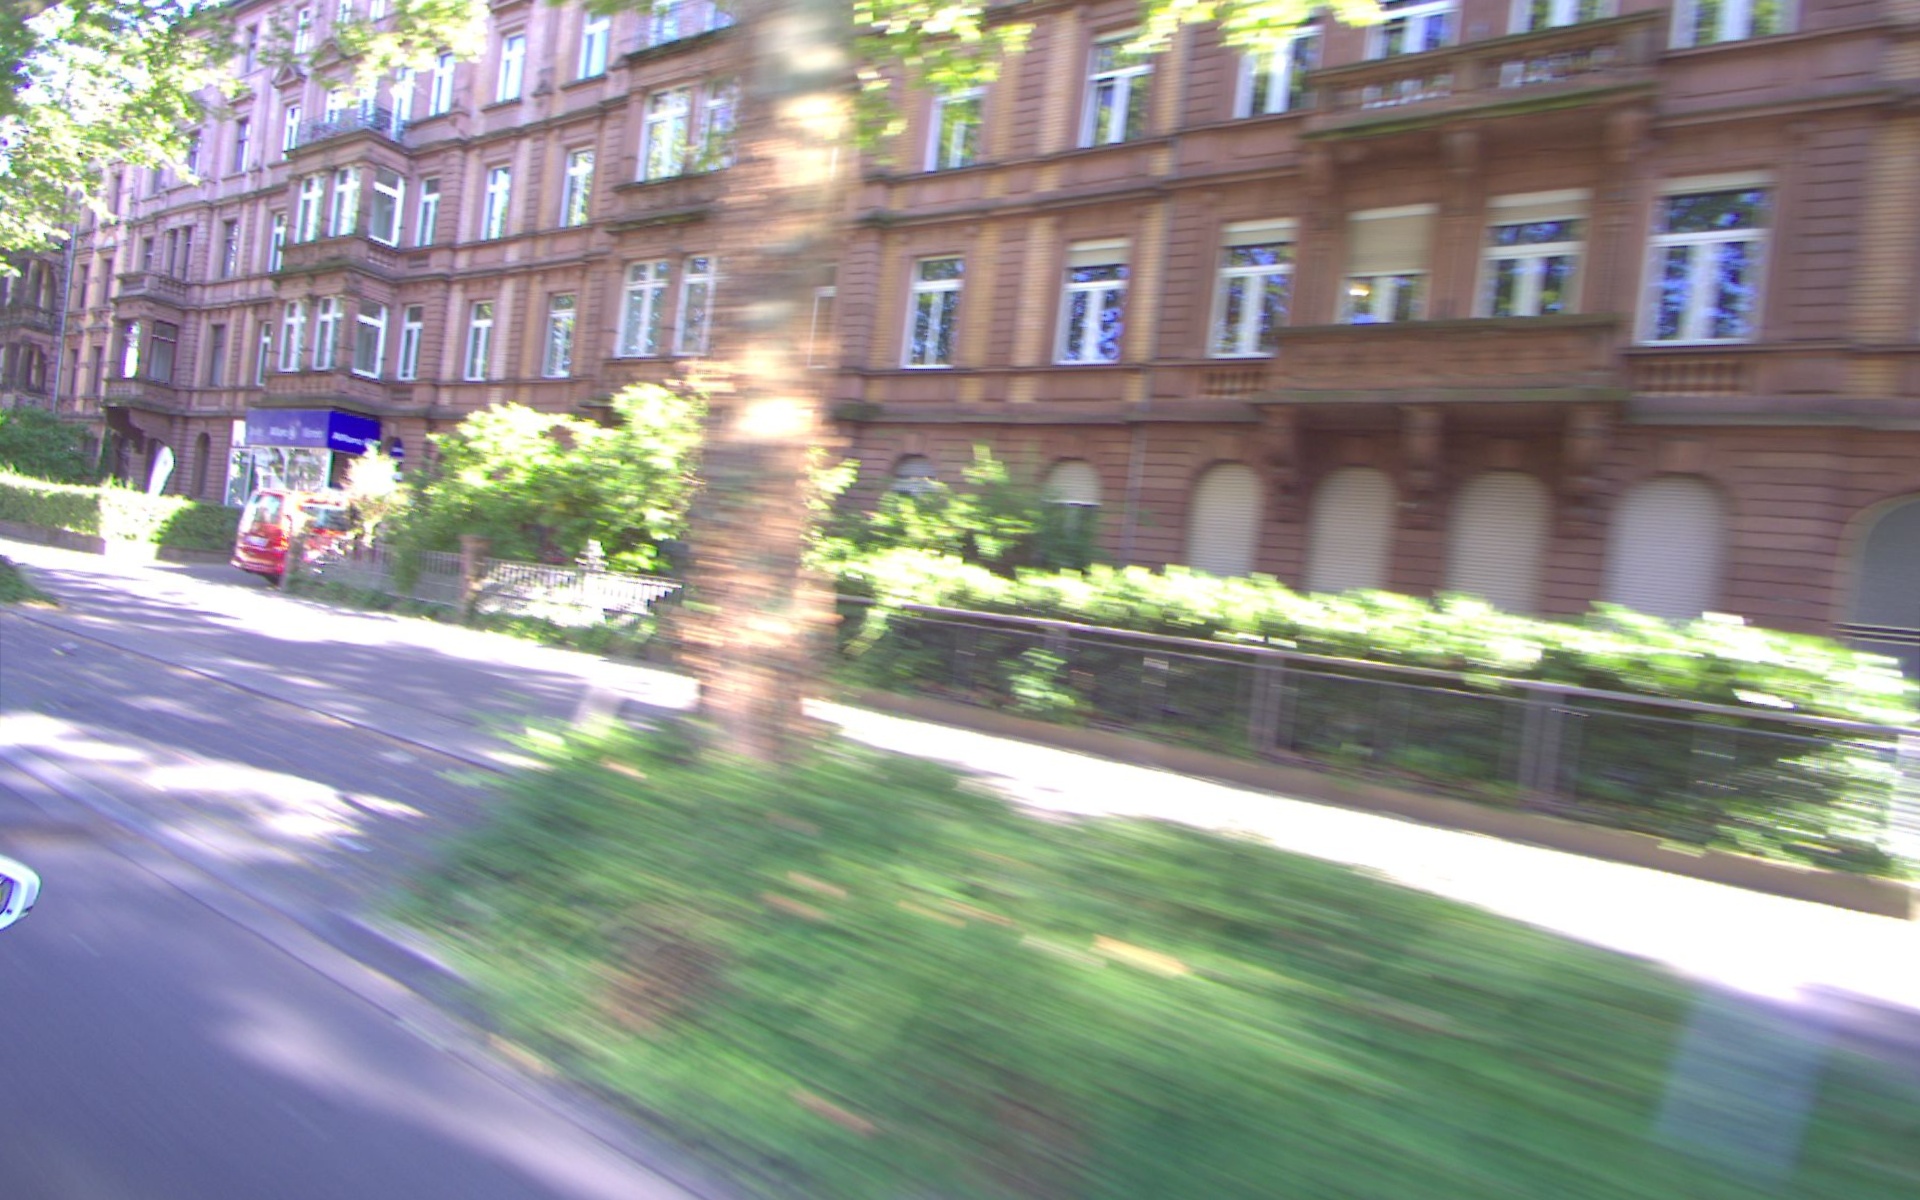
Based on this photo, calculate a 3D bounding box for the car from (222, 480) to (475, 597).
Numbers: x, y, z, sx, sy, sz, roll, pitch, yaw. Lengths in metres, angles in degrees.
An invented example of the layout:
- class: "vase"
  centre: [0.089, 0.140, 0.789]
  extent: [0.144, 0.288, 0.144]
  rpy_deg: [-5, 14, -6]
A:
- class: "car"
  centre: [-13.125, -1.260, 21.847]
  extent: [1.966, 2.040, 4.178]
  rpy_deg: [7, 2, 30]

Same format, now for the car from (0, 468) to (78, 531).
- class: "car"
  centre: [-35.156, -3.792, 36.306]
  extent: [1.883, 2.039, 4.575]
  rpy_deg: [7, 1, 32]
